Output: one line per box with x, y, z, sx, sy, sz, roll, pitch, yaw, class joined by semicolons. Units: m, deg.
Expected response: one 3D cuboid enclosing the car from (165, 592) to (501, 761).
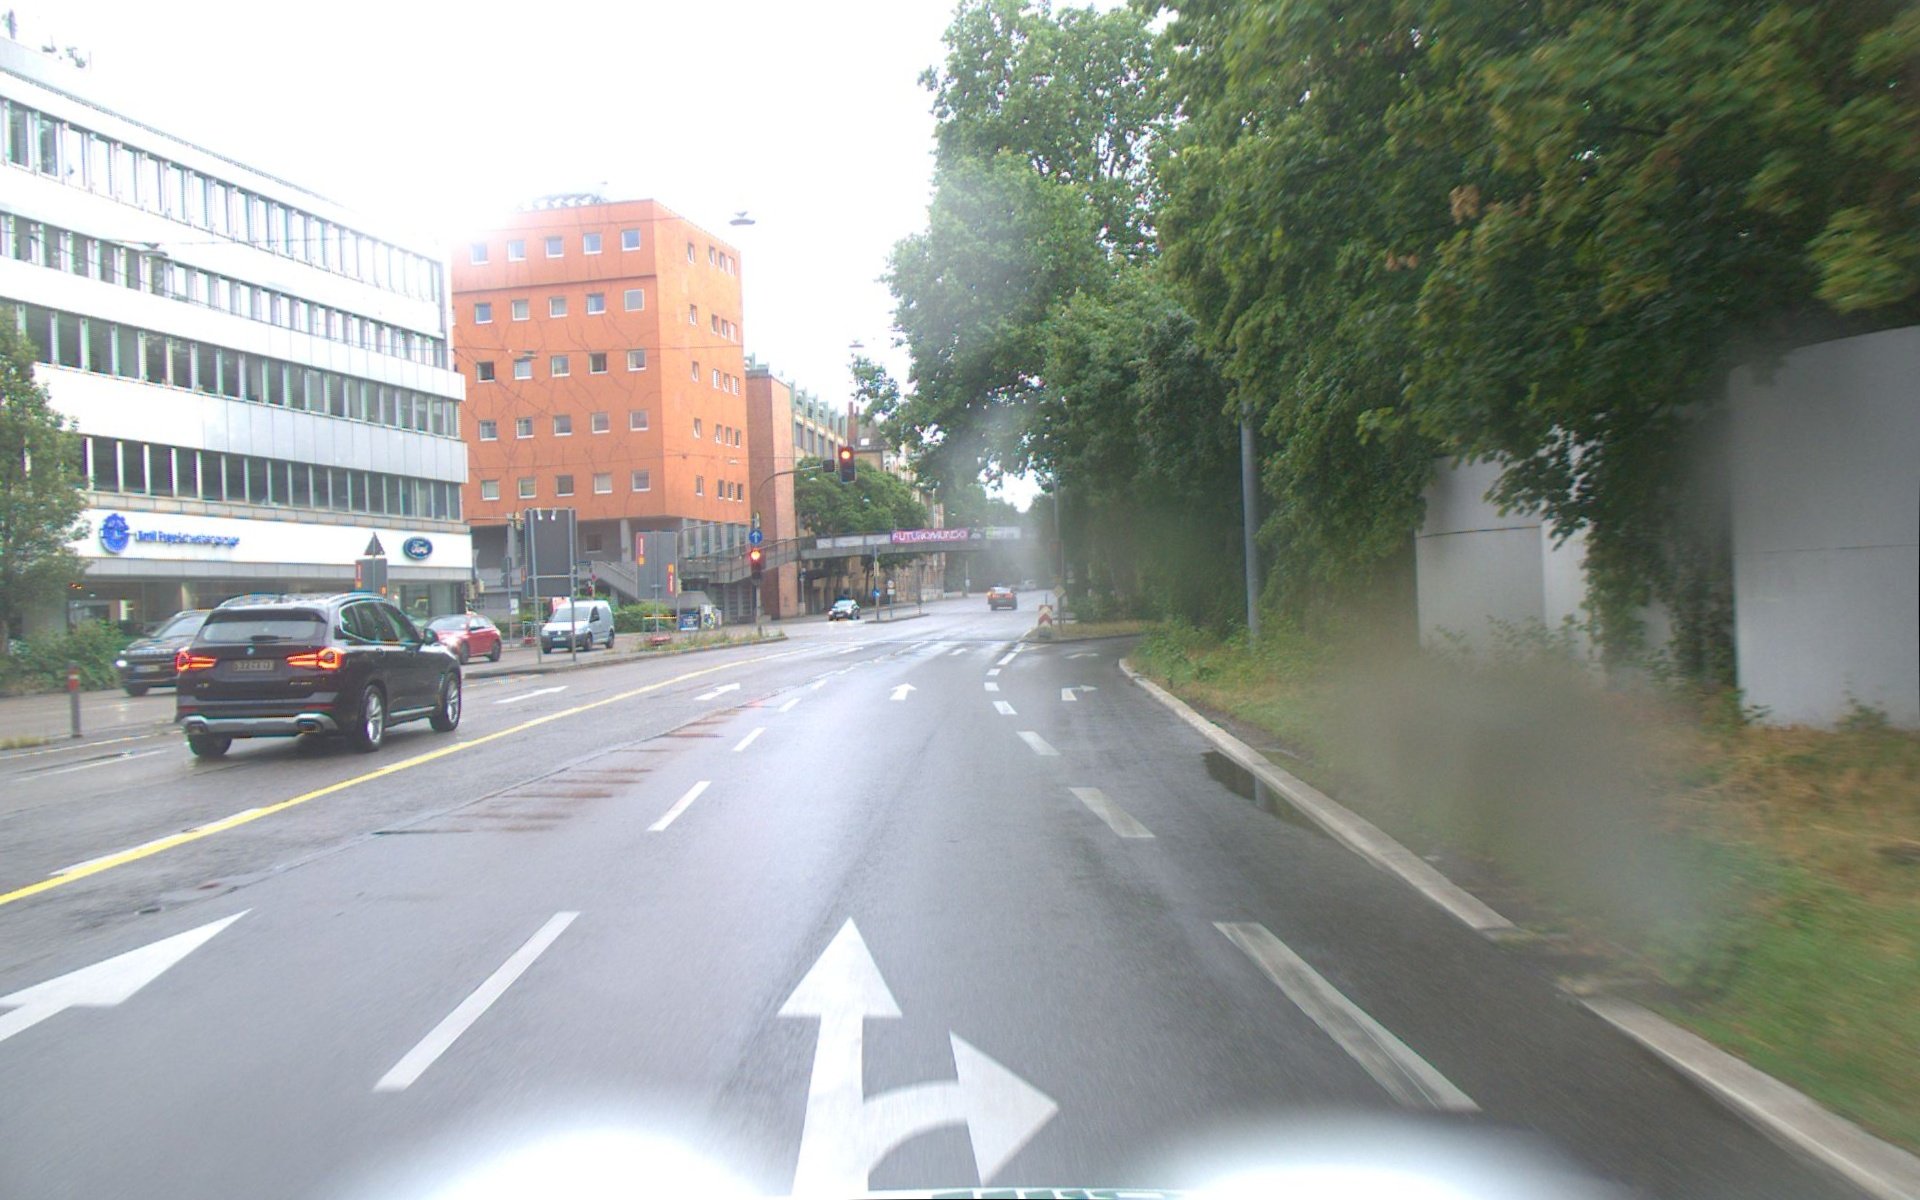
-6.793;0.735;18.552;1.907;1.625;4.671;-1;0;1;car

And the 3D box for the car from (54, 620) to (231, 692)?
-27.600;1.894;55.897;5.138;2.046;1.978;-3;-1;-32;car

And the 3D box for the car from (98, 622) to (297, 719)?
-15.726;1.401;34.407;1.807;1.768;4.605;-3;-1;2;car

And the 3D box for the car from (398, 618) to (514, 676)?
-15.113;1.380;49.842;1.791;1.528;4.375;-4;-1;4;car

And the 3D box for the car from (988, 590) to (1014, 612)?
3.302;0.068;133.782;2.077;1.765;4.199;-1;0;1;car

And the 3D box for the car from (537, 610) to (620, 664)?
-14.057;1.334;61.132;1.697;1.817;4.303;-4;-1;4;car

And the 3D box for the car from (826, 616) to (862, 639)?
-8.216;1.932;117.544;1.952;1.545;4.002;-2;-1;4;car

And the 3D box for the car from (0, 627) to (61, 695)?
-29.758;1.943;49.205;4.943;1.930;1.971;-3;-1;-40;car
